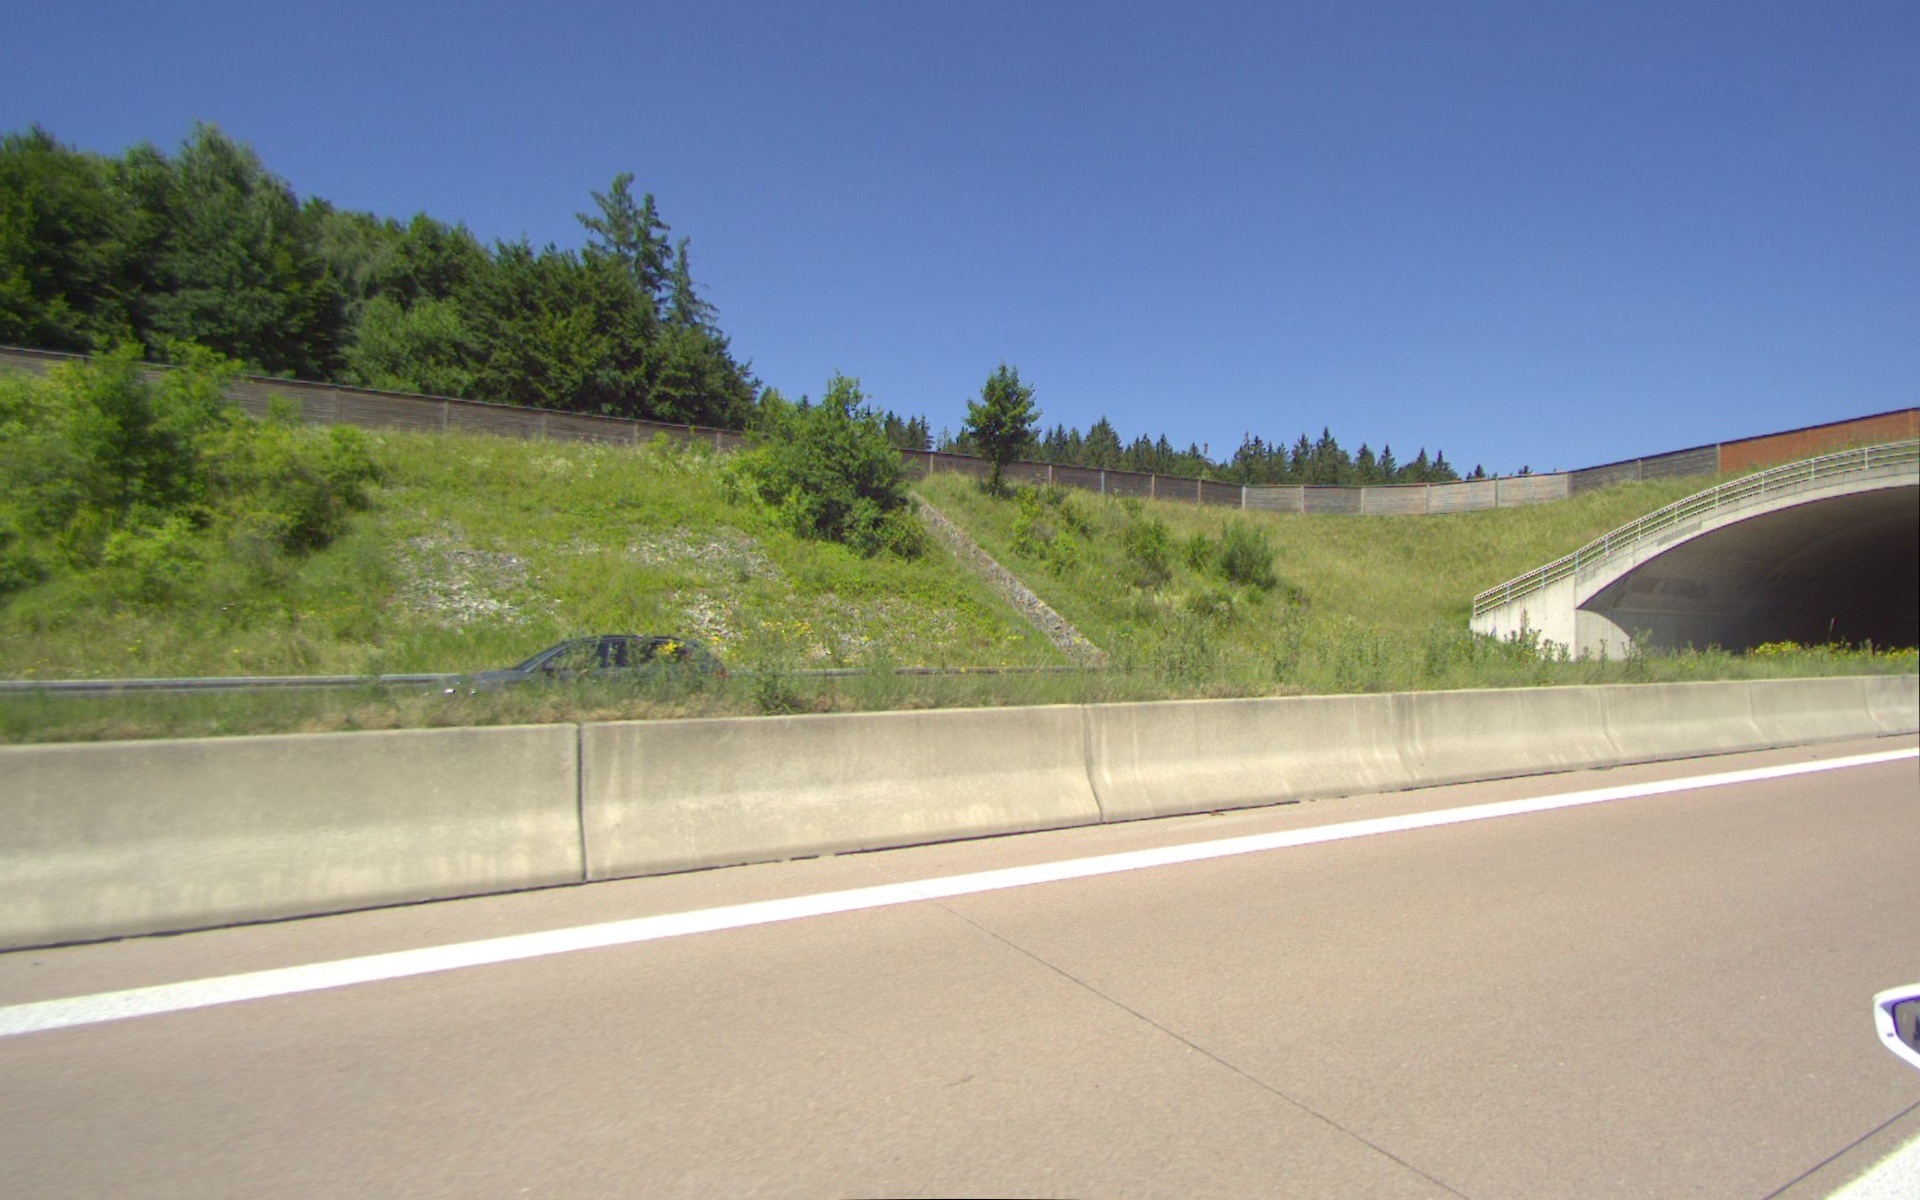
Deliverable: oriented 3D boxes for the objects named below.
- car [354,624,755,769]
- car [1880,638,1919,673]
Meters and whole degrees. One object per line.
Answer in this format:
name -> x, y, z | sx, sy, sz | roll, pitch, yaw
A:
car -> -5.517, 1.191, 13.969 | 4.919, 1.615, 1.882 | 0, 0, -30
car -> 47.938, 2.744, 49.955 | 4.919, 1.615, 1.882 | 2, -1, -30
